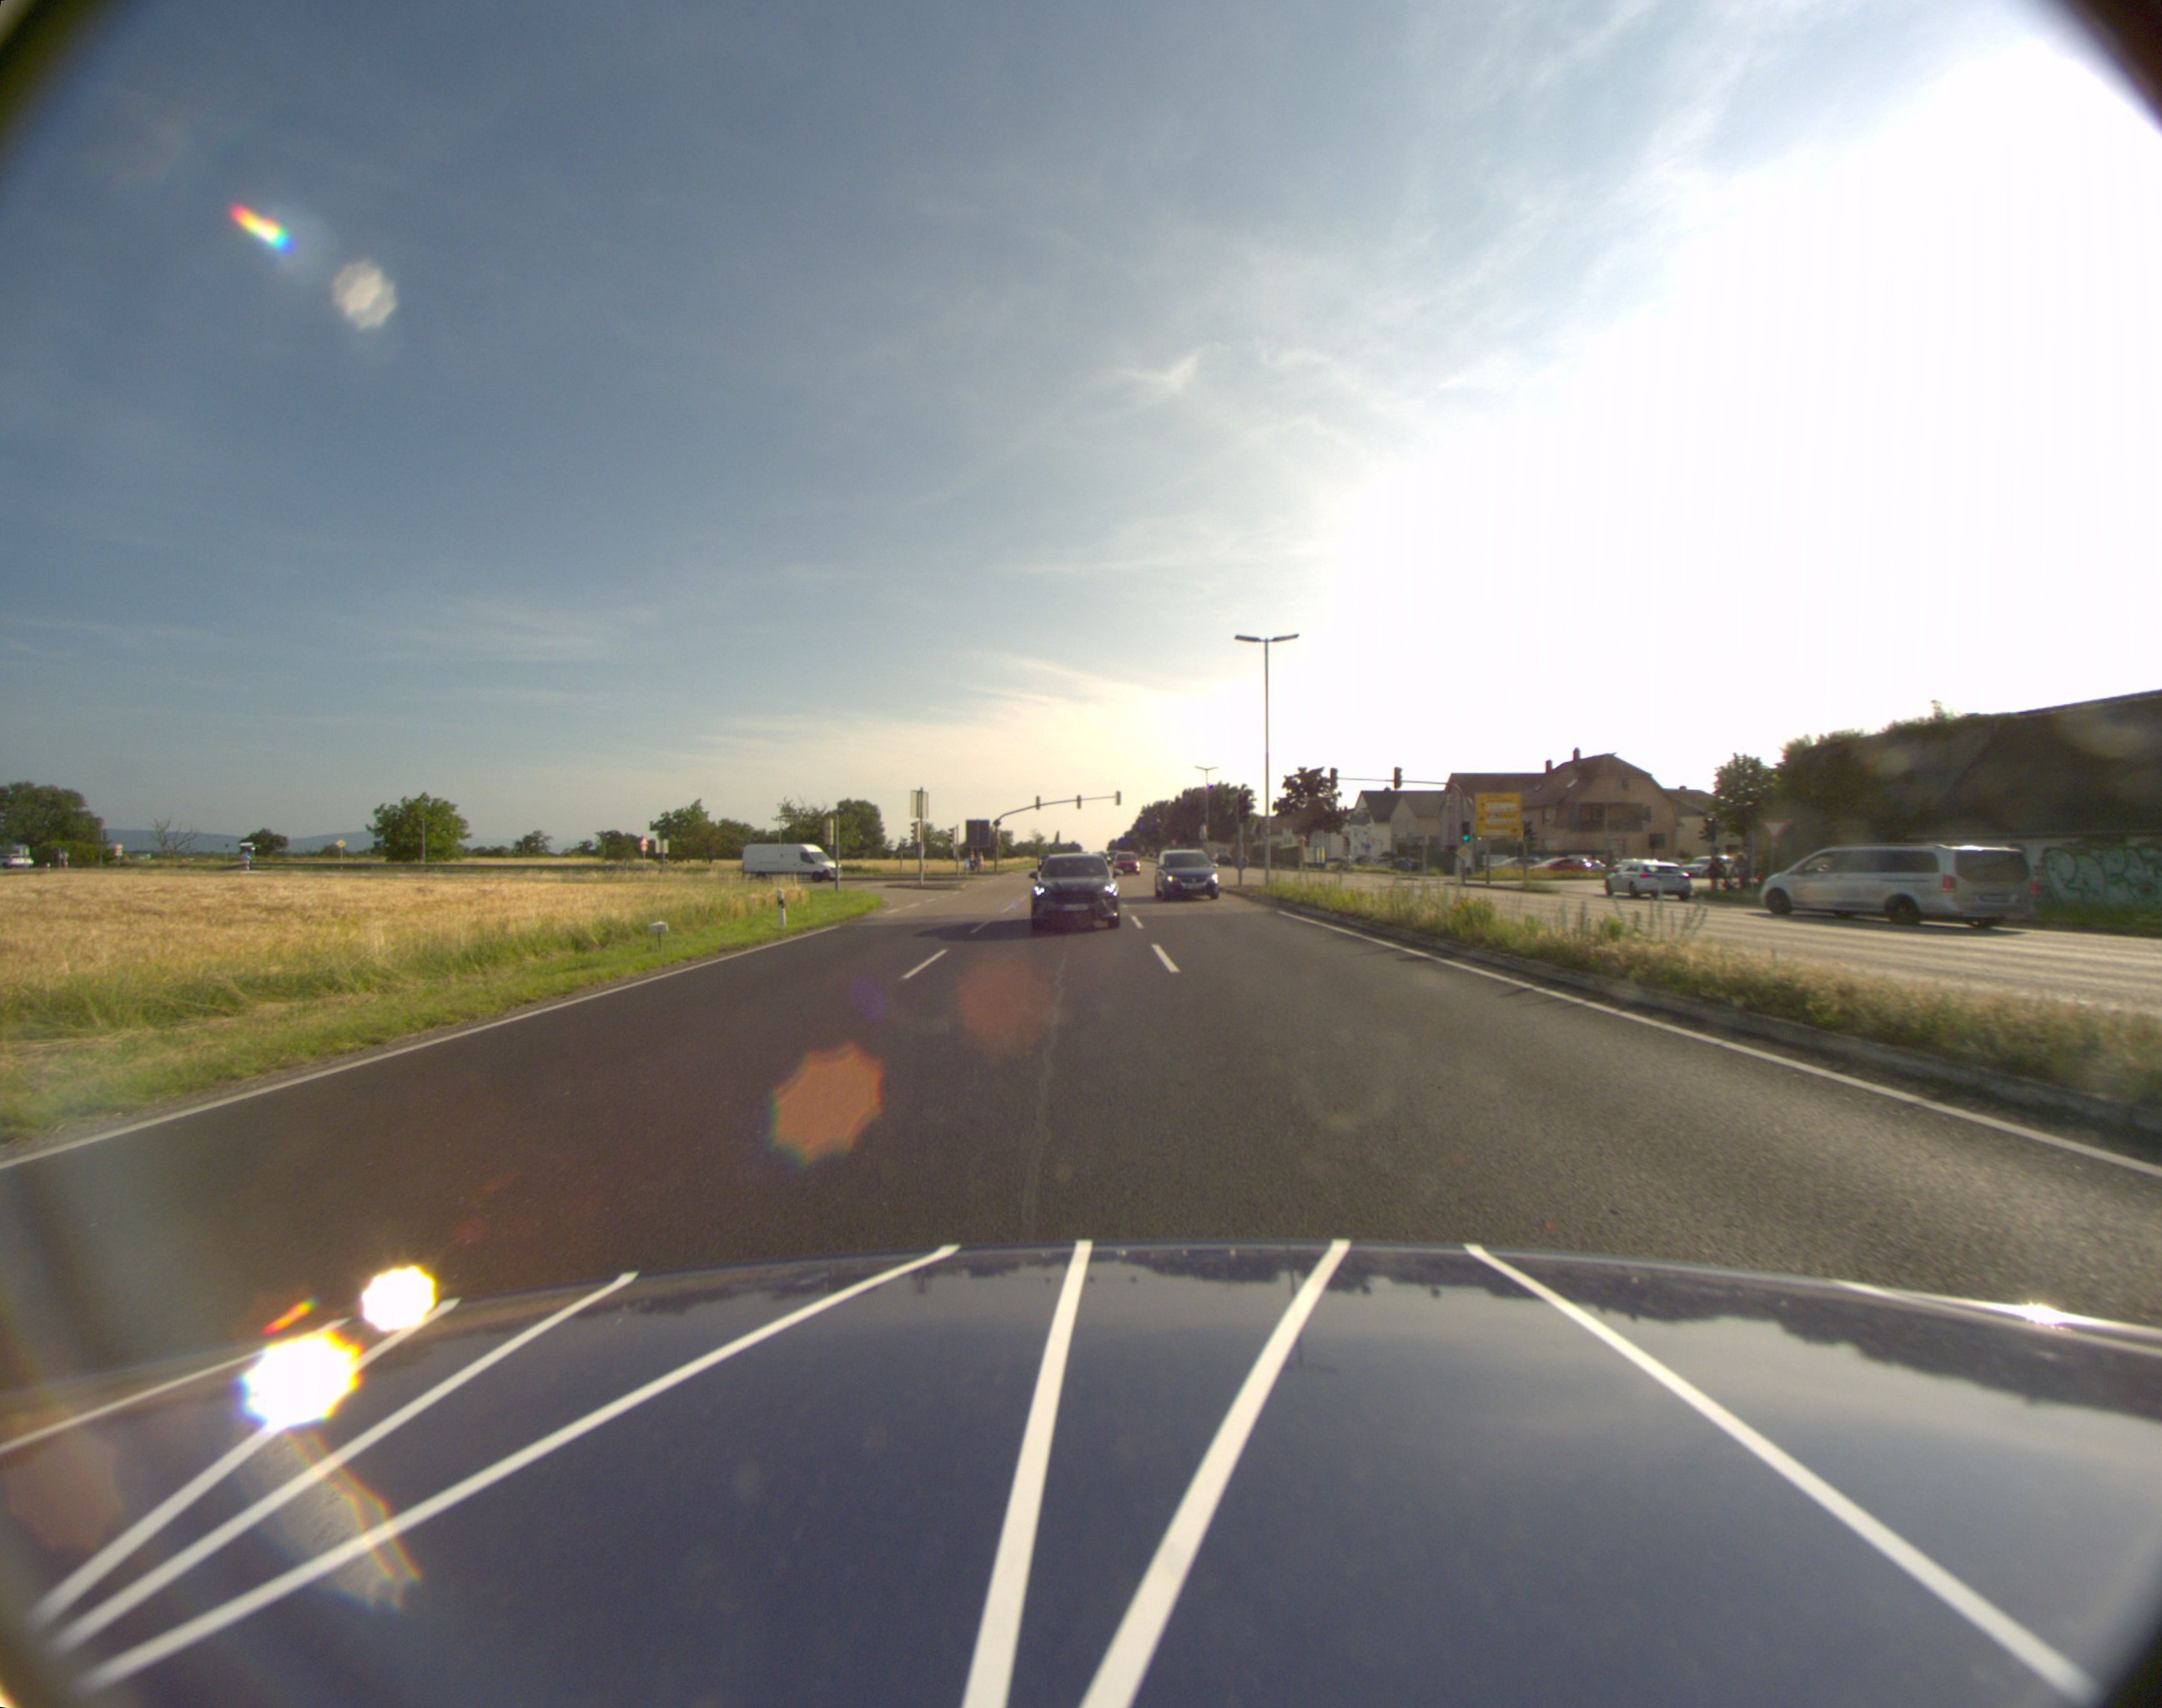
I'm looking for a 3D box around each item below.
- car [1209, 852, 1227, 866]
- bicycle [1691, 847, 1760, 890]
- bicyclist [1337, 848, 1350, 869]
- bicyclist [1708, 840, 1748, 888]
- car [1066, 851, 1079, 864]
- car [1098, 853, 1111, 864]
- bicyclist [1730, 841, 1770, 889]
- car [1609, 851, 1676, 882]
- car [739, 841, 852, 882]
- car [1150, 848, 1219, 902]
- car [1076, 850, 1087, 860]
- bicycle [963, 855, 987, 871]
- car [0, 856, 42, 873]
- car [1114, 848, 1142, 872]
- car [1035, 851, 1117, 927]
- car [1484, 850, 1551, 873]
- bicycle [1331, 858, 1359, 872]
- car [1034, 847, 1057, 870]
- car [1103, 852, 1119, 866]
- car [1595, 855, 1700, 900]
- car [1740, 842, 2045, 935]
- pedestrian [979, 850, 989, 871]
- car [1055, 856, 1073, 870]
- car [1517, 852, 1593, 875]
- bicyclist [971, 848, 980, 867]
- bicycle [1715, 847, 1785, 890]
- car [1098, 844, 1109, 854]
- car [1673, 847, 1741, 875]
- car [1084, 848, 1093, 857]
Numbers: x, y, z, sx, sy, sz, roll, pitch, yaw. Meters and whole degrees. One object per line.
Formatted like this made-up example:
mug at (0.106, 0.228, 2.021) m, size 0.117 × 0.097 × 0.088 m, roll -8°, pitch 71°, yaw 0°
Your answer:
car at (16.571, 0.555, 92.114) m, size 1.735 × 1.533 × 4.248 m, roll 1°, pitch 1°, yaw 6°
bicycle at (27.840, 0.595, 32.893) m, size 0.755 × 1.739 × 2.607 m, roll -2°, pitch 1°, yaw 1°
bicyclist at (22.331, 0.375, 64.690) m, size 0.856 × 1.777 × 0.847 m, roll 2°, pitch 2°, yaw 9°
bicyclist at (27.835, 0.428, 32.709) m, size 0.772 × 2.002 × 1.062 m, roll -2°, pitch 1°, yaw 0°
car at (-1.369, 0.560, 127.516) m, size 1.998 × 2.002 × 3.999 m, roll -2°, pitch 1°, yaw 0°
car at (4.393, 0.862, 143.579) m, size 1.999 × 2.002 × 3.998 m, roll -2°, pitch 1°, yaw -3°
bicyclist at (28.847, 0.451, 32.785) m, size 0.772 × 2.002 × 1.062 m, roll -2°, pitch 1°, yaw 0°
car at (30.868, 0.649, 41.739) m, size 4.770 × 1.489 × 1.950 m, roll -3°, pitch 1°, yaw -41°
car at (-19.391, 0.512, 51.688) m, size 7.202 × 2.654 × 2.094 m, roll 0°, pitch 2°, yaw 14°
car at (3.463, 0.639, 26.179) m, size 1.777 × 1.612 × 4.681 m, roll -1°, pitch 1°, yaw 1°
car at (0.011, 0.149, 156.222) m, size 1.999 × 2.002 × 3.998 m, roll -2°, pitch 1°, yaw -3°
bicycle at (-8.962, 0.794, 64.379) m, size 1.858 × 1.282 × 0.529 m, roll -2°, pitch 1°, yaw 3°
car at (-111.806, 1.095, 79.942) m, size 3.992 × 1.652 × 1.736 m, roll -2°, pitch 1°, yaw 18°
car at (3.331, 0.414, 53.929) m, size 1.748 × 1.537 × 3.999 m, roll -2°, pitch 1°, yaw 1°
car at (-0.075, 0.769, 19.139) m, size 1.791 × 1.594 × 4.339 m, roll -2°, pitch 1°, yaw 1°
car at (32.799, 0.531, 57.162) m, size 3.996 × 1.554 × 1.758 m, roll 1°, pitch 1°, yaw 1°
bicycle at (22.466, 0.948, 64.686) m, size 2.159 × 1.185 × 0.904 m, roll 0°, pitch 2°, yaw 9°
car at (-3.266, 0.349, 70.716) m, size 1.999 × 2.002 × 3.998 m, roll -2°, pitch 1°, yaw -2°
car at (3.483, 0.575, 88.614) m, size 1.719 × 1.521 × 3.999 m, roll -2°, pitch 1°, yaw 1°
car at (22.325, 0.851, 30.146) m, size 1.704 × 1.489 × 4.542 m, roll 3°, pitch 2°, yaw 15°
car at (19.822, 0.702, 19.085) m, size 1.911 × 1.917 × 5.454 m, roll 2°, pitch 1°, yaw 3°
pedestrian at (-8.414, 0.570, 66.111) m, size 0.623 × 1.741 × 0.598 m, roll -2°, pitch 1°, yaw 11°
car at (-2.014, 1.088, 91.758) m, size 1.685 × 1.565 × 3.818 m, roll -2°, pitch 1°, yaw 5°
car at (32.719, 0.659, 52.452) m, size 4.304 × 1.405 × 1.641 m, roll 2°, pitch 1°, yaw -6°
bicyclist at (-8.984, 0.319, 64.510) m, size 0.560 × 1.603 × 0.504 m, roll -2°, pitch 1°, yaw 7°
bicycle at (28.869, 0.577, 32.860) m, size 0.755 × 1.739 × 2.607 m, roll -2°, pitch 1°, yaw 1°
car at (4.792, -0.983, 159.988) m, size 1.999 × 2.002 × 3.998 m, roll -2°, pitch 1°, yaw -3°
car at (46.397, 0.496, 56.315) m, size 4.185 × 1.805 × 1.996 m, roll -2°, pitch 1°, yaw -20°
car at (1.852, -0.439, 189.746) m, size 1.999 × 2.002 × 3.998 m, roll -2°, pitch 1°, yaw -3°
